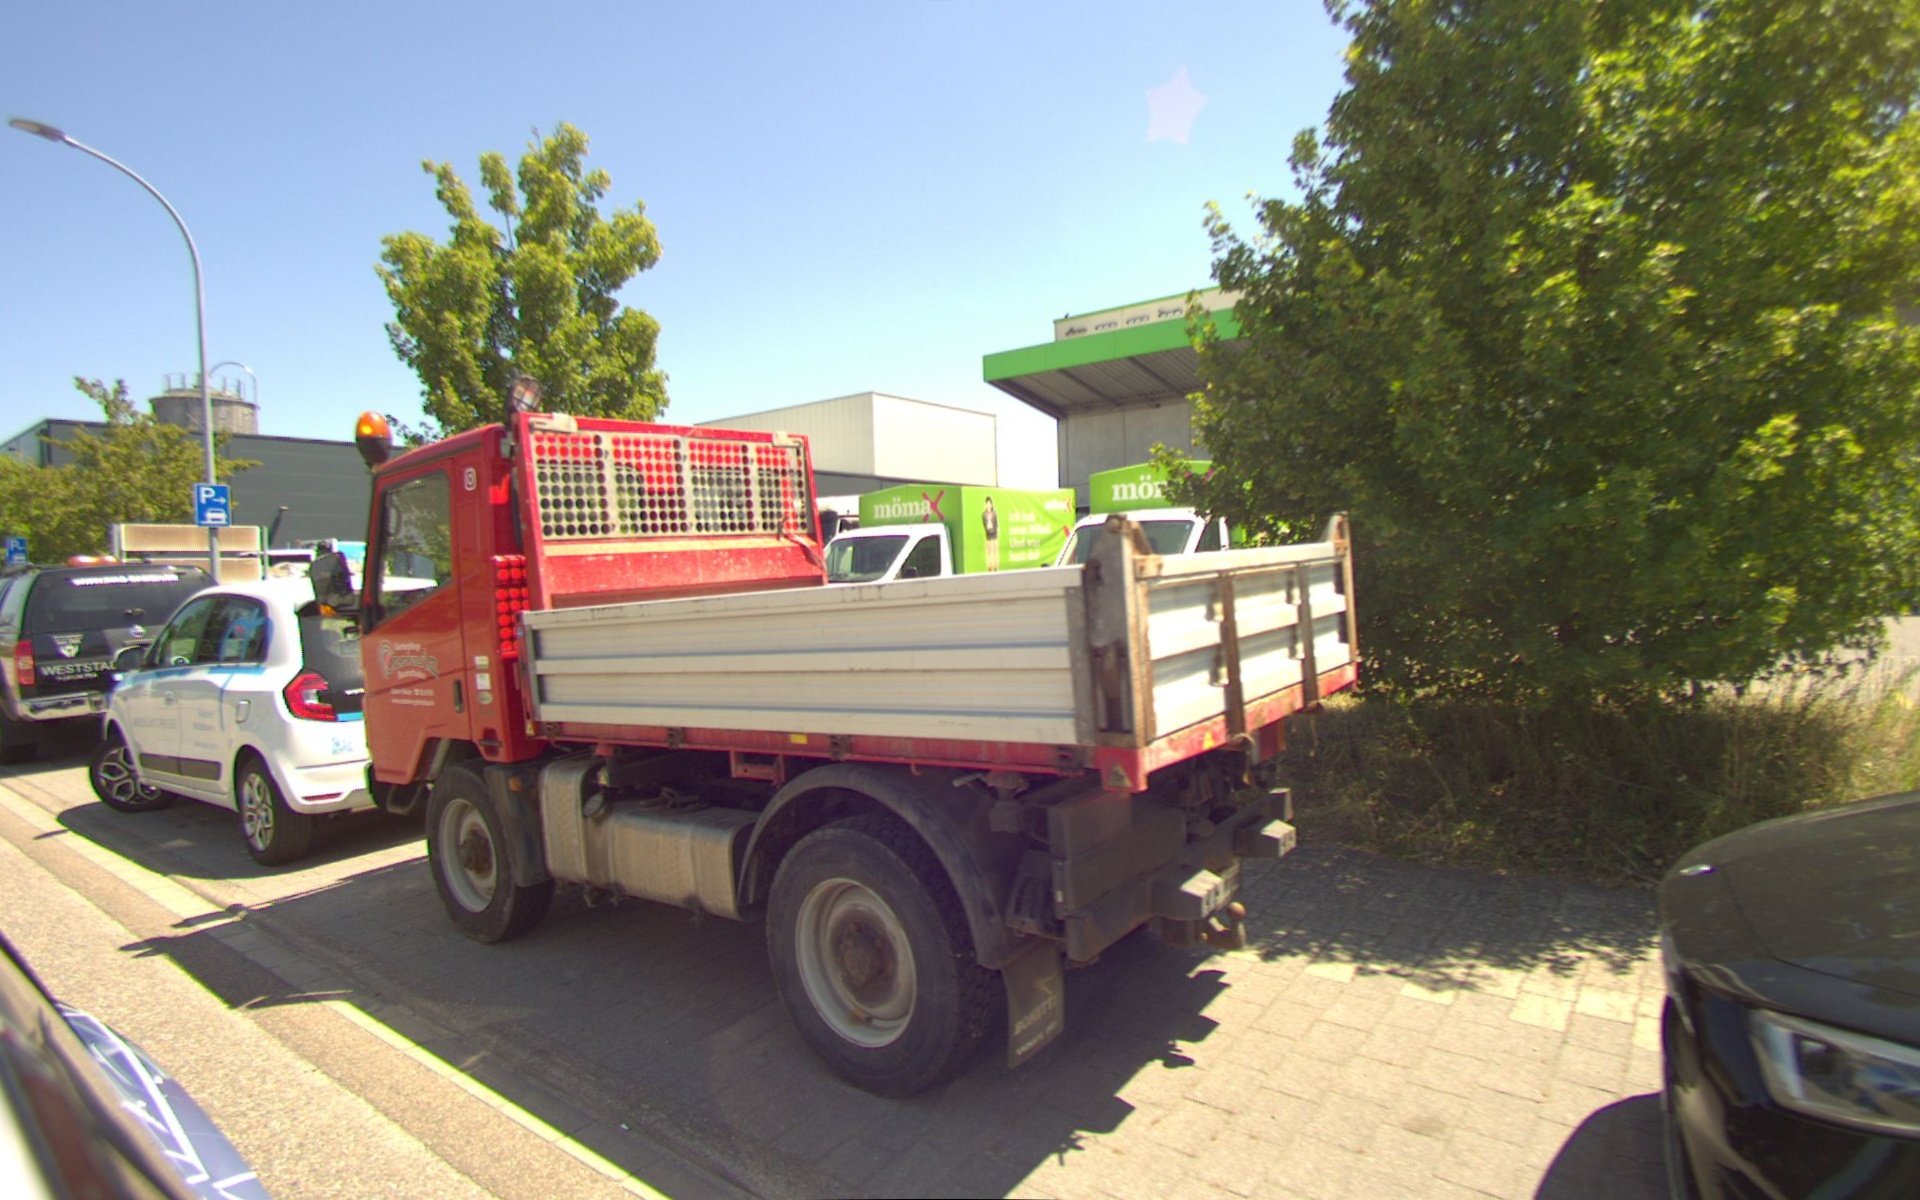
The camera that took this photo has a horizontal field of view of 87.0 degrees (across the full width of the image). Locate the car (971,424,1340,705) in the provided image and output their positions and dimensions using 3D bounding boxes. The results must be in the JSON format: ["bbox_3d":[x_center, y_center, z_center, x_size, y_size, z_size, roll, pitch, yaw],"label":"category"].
[{"bbox_3d":[2.953,-0.495,13.772,2.517,2.947,5.920,-1,2,37],"label":"car"}]

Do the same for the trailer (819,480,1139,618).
[{"bbox_3d":[1.478,-1.691,37.217,3.215,4.118,15.175,-1,1,38],"label":"trailer"}]

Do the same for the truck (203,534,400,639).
[{"bbox_3d":[-27.149,-0.581,42.026,3.140,4.000,6.001,-1,1,26],"label":"truck"}]

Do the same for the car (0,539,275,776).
[{"bbox_3d":[-9.424,0.462,10.726,5.395,1.914,1.955,-1,3,38],"label":"car"}]

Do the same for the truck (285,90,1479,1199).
[{"bbox_3d":[-0.692,0.161,4.038,4.639,2.239,1.835,-1,3,38],"label":"truck"}]

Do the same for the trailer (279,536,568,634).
[{"bbox_3d":[-24.491,-0.793,47.522,3.140,4.000,12.429,-1,1,26],"label":"trailer"}]

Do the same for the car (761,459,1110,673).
[{"bbox_3d":[-0.122,-0.574,16.585,2.517,2.845,5.920,-1,2,37],"label":"car"}]

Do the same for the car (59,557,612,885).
[{"bbox_3d":[-4.308,0.594,6.831,3.760,1.562,1.835,-1,3,36],"label":"car"}]

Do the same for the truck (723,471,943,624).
[{"bbox_3d":[-3.686,-1.478,30.607,3.215,4.118,6.047,-1,1,38],"label":"truck"}]

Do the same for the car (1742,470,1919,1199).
[{"bbox_3d":[3.454,0.487,0.565,4.747,1.454,1.834,-1,3,38],"label":"car"}]
